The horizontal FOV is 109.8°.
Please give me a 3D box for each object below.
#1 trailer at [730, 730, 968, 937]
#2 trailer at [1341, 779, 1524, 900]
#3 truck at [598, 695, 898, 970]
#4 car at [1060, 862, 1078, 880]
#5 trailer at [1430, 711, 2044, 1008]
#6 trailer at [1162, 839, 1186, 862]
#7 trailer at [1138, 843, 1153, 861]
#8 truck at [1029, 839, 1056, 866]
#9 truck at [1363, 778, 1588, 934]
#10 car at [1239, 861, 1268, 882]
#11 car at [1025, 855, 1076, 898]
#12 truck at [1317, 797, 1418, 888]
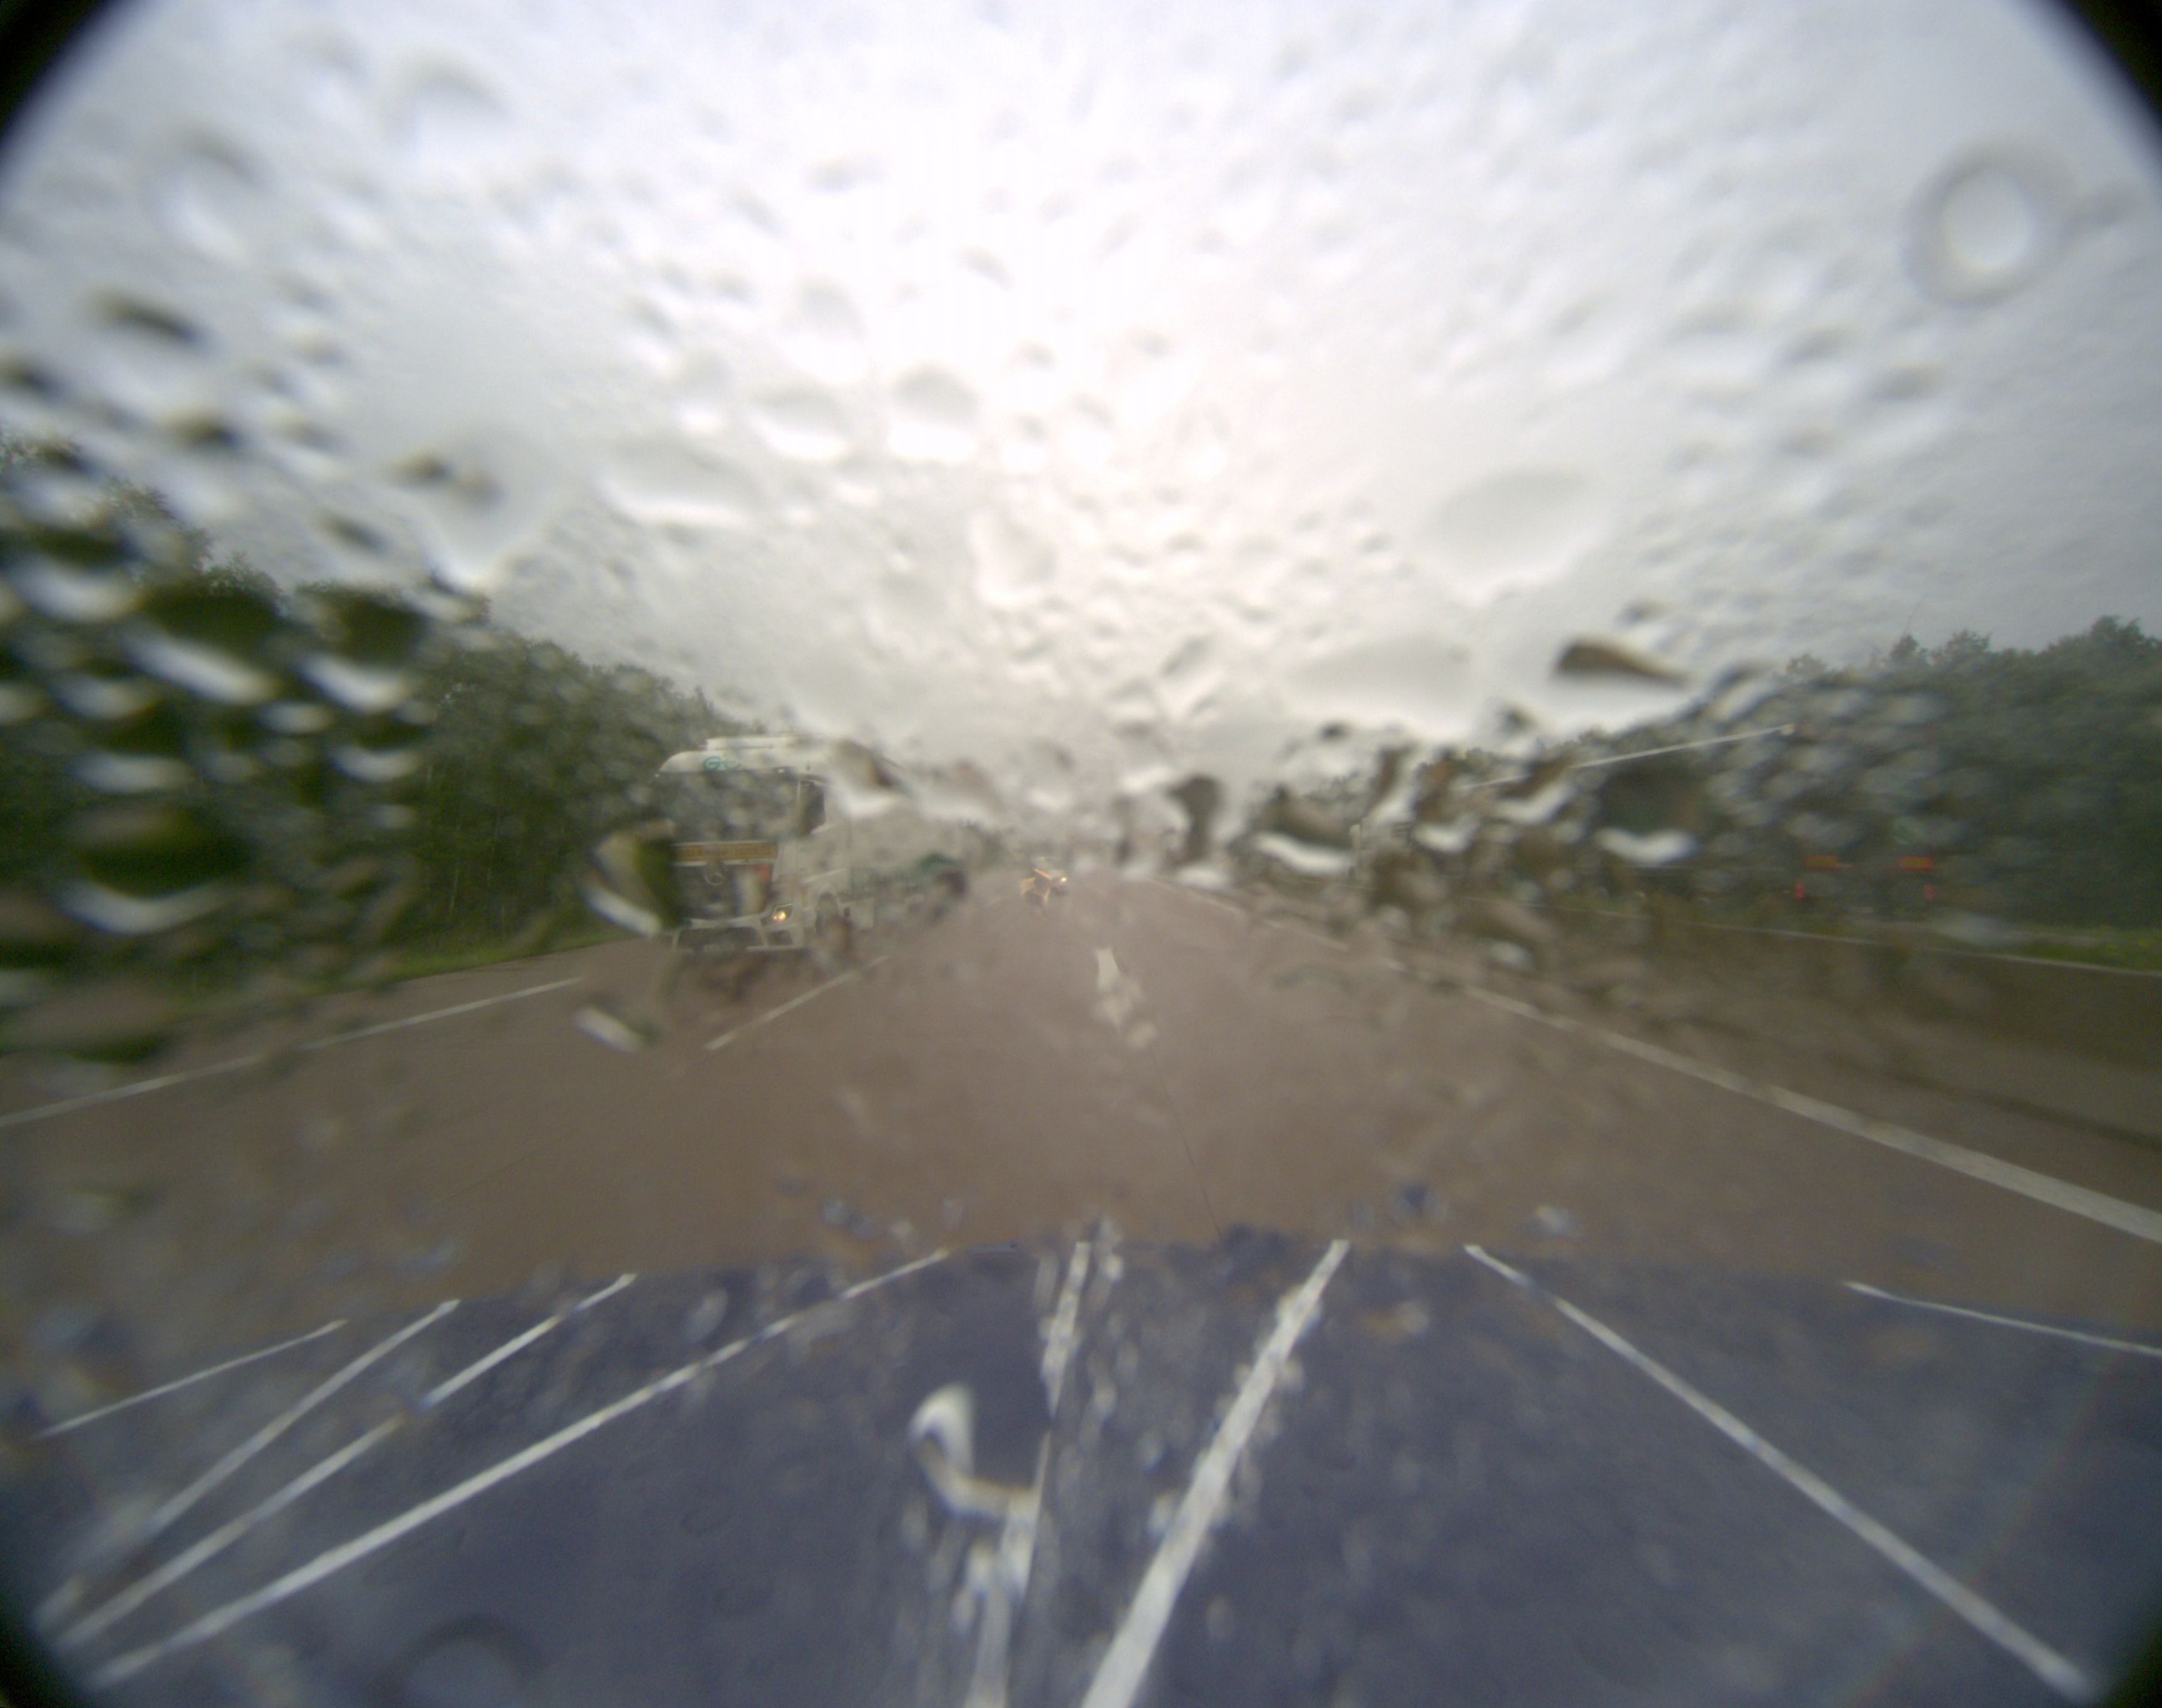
[{"bbox_3d":[-5.680,-0.340,21.976,2.860,4.206,13.132,0,-1,0],"label":"trailer"},{"bbox_3d":[18.566,-0.690,41.983,3.439,5.409,14.235,-2,0,0],"label":"trailer"},{"bbox_3d":[-5.715,-0.281,14.466,2.888,4.082,6.349,0,0,0],"label":"truck"},{"bbox_3d":[-1.373,1.884,86.827,1.999,2.002,4.277,0,0,-1],"label":"car"},{"bbox_3d":[14.708,0.074,20.344,4.001,5.030,14.235,-2,0,0],"label":"trailer"},{"bbox_3d":[18.738,-0.621,154.593,3.439,4.439,12.446,0,-1,0],"label":"trailer"},{"bbox_3d":[18.906,-0.637,223.424,3.438,4.838,12.445,-2,0,1],"label":"trailer"},{"bbox_3d":[-5.413,-0.200,108.827,3.242,3.708,7.955,-2,0,1],"label":"truck"},{"bbox_3d":[14.658,0.051,29.470,3.935,4.985,8.951,-2,0,0],"label":"truck"},{"bbox_3d":[12.825,1.303,56.732,1.419,1.349,3.084,-4,0,1],"label":"car"},{"bbox_3d":[-1.261,0.906,33.065,1.812,1.718,4.744,-1,0,2],"label":"car"},{"bbox_3d":[18.595,-0.720,50.070,3.428,5.347,8.157,-2,0,0],"label":"truck"}]
